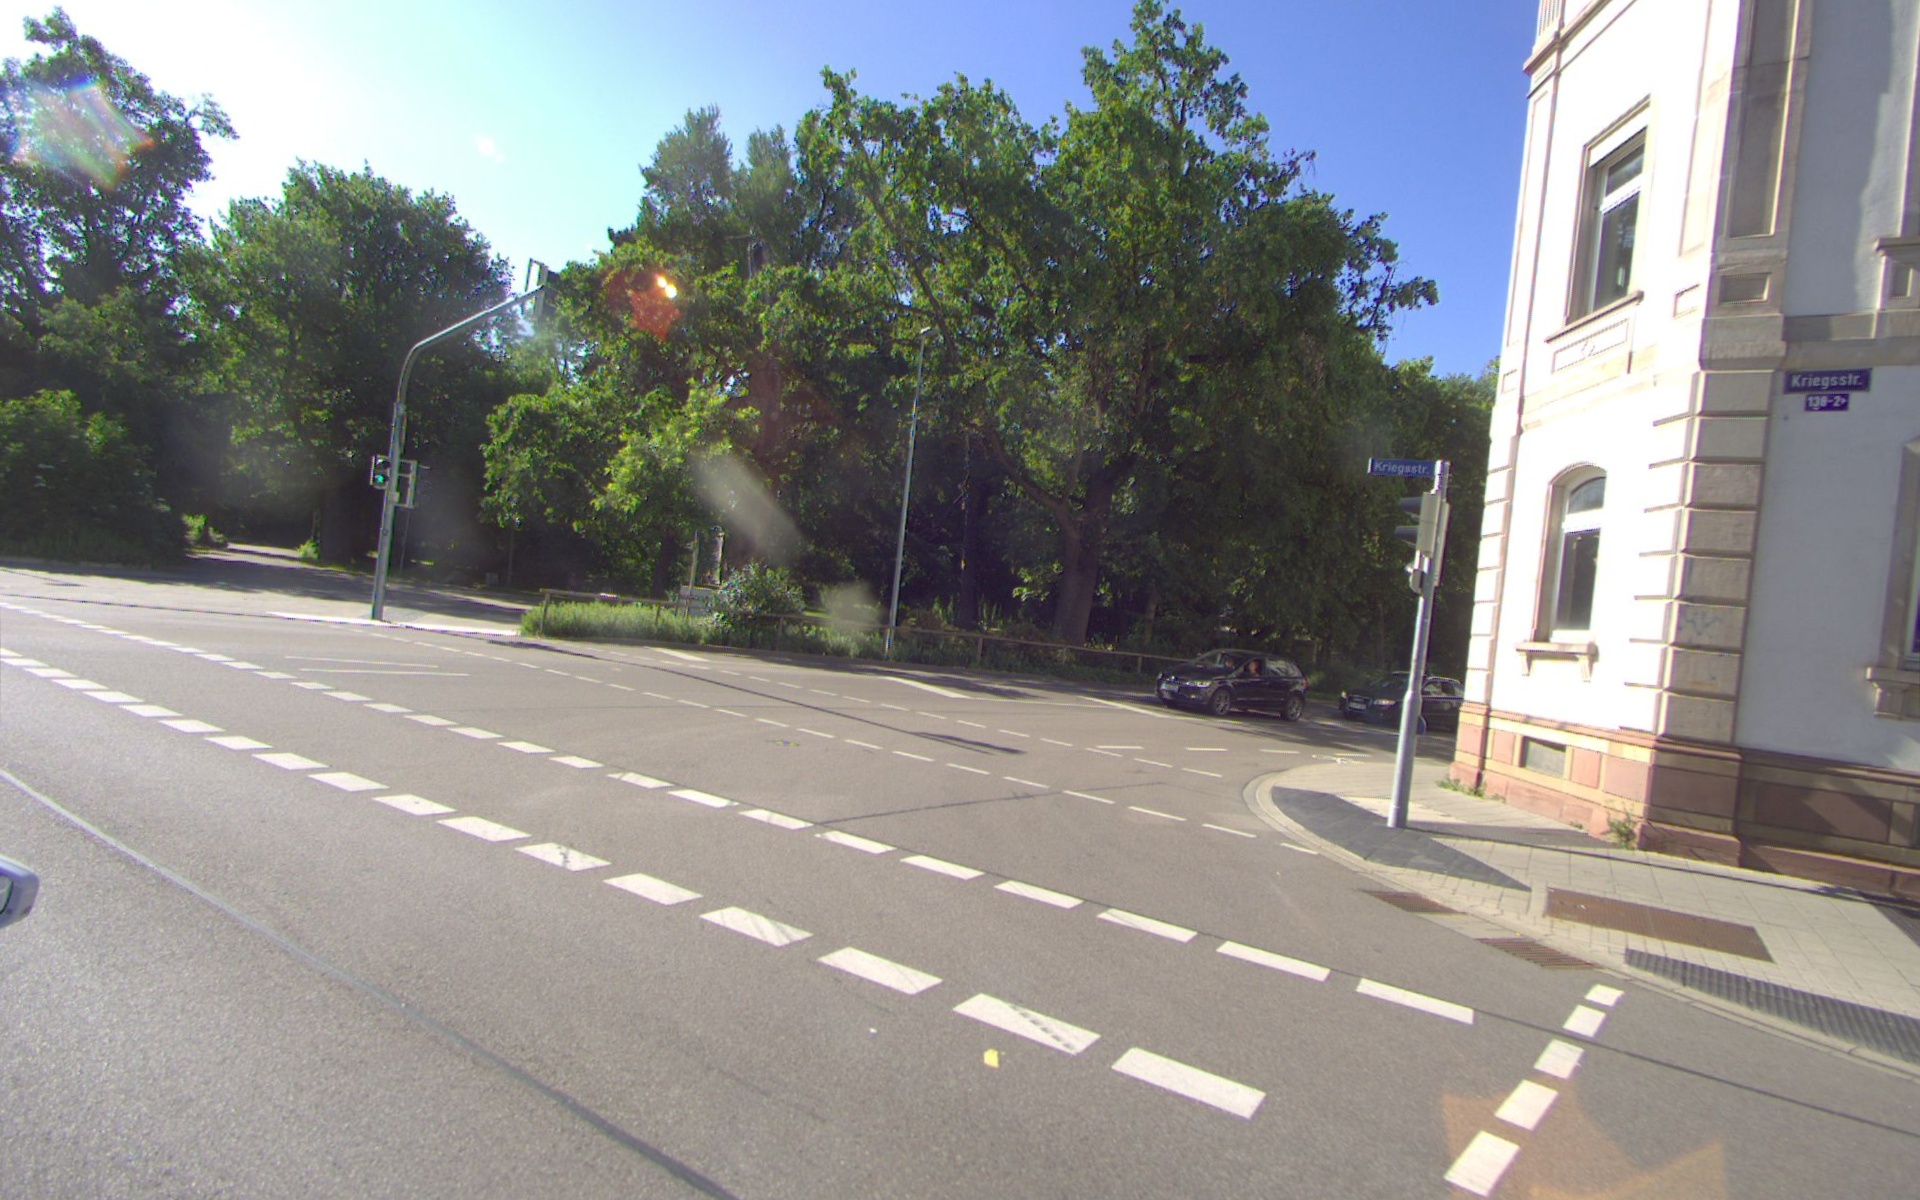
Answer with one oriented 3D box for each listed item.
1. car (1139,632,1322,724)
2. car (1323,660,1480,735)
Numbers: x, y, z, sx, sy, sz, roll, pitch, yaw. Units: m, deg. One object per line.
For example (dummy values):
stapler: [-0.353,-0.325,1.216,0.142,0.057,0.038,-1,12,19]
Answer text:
car: [6.150,1.784,22.727,3.965,1.500,1.715,9,1,-35]
car: [11.696,2.595,26.591,3.963,1.456,1.842,8,1,-34]
